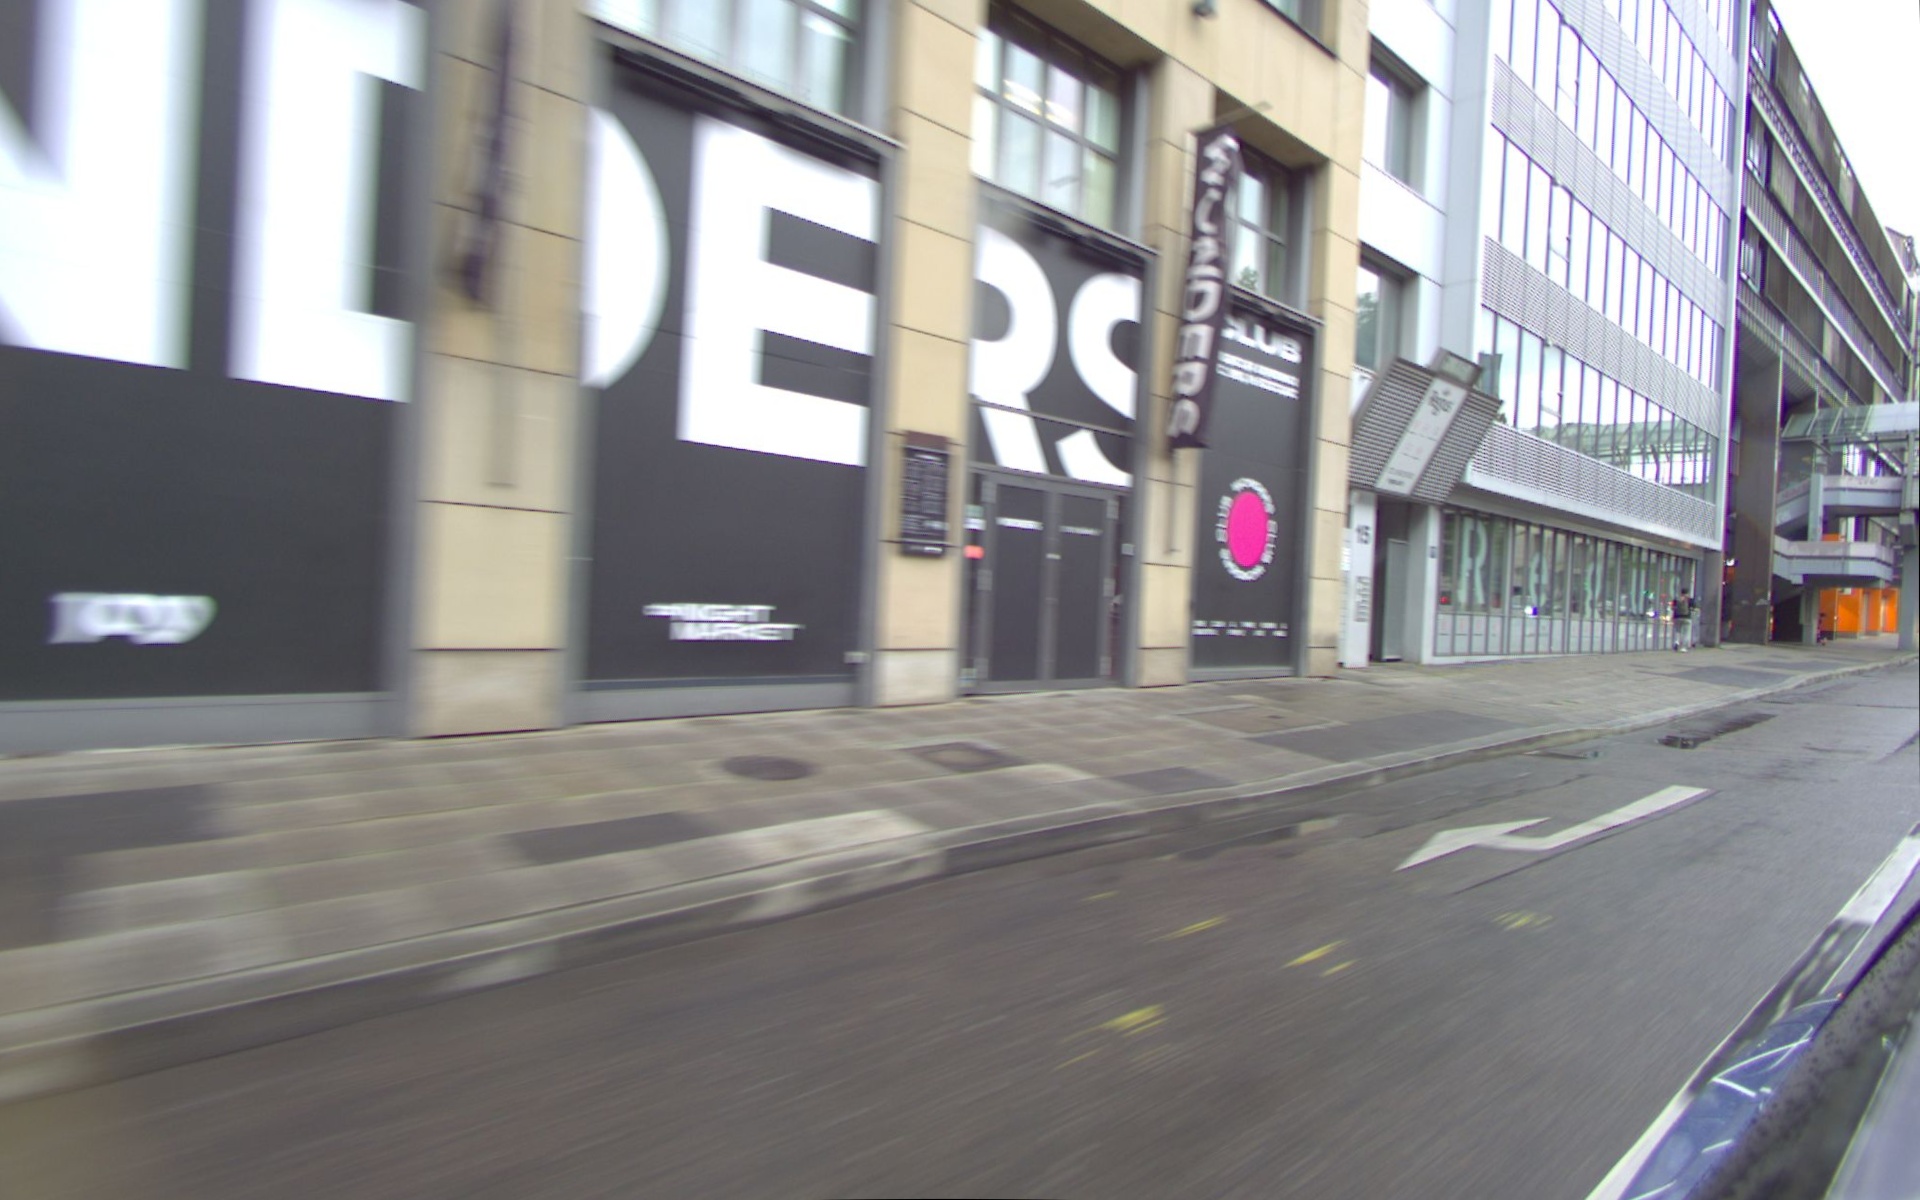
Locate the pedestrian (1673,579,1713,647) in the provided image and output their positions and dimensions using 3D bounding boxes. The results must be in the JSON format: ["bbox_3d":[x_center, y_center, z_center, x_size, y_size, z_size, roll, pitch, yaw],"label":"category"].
[{"bbox_3d":[20.592,0.359,28.439,0.751,1.855,0.728,1,0,-41],"label":"pedestrian"}]

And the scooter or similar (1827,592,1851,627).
[{"bbox_3d":[33.544,0.347,38.643,0.468,1.289,1.293,1,1,32],"label":"scooter or similar"}]
